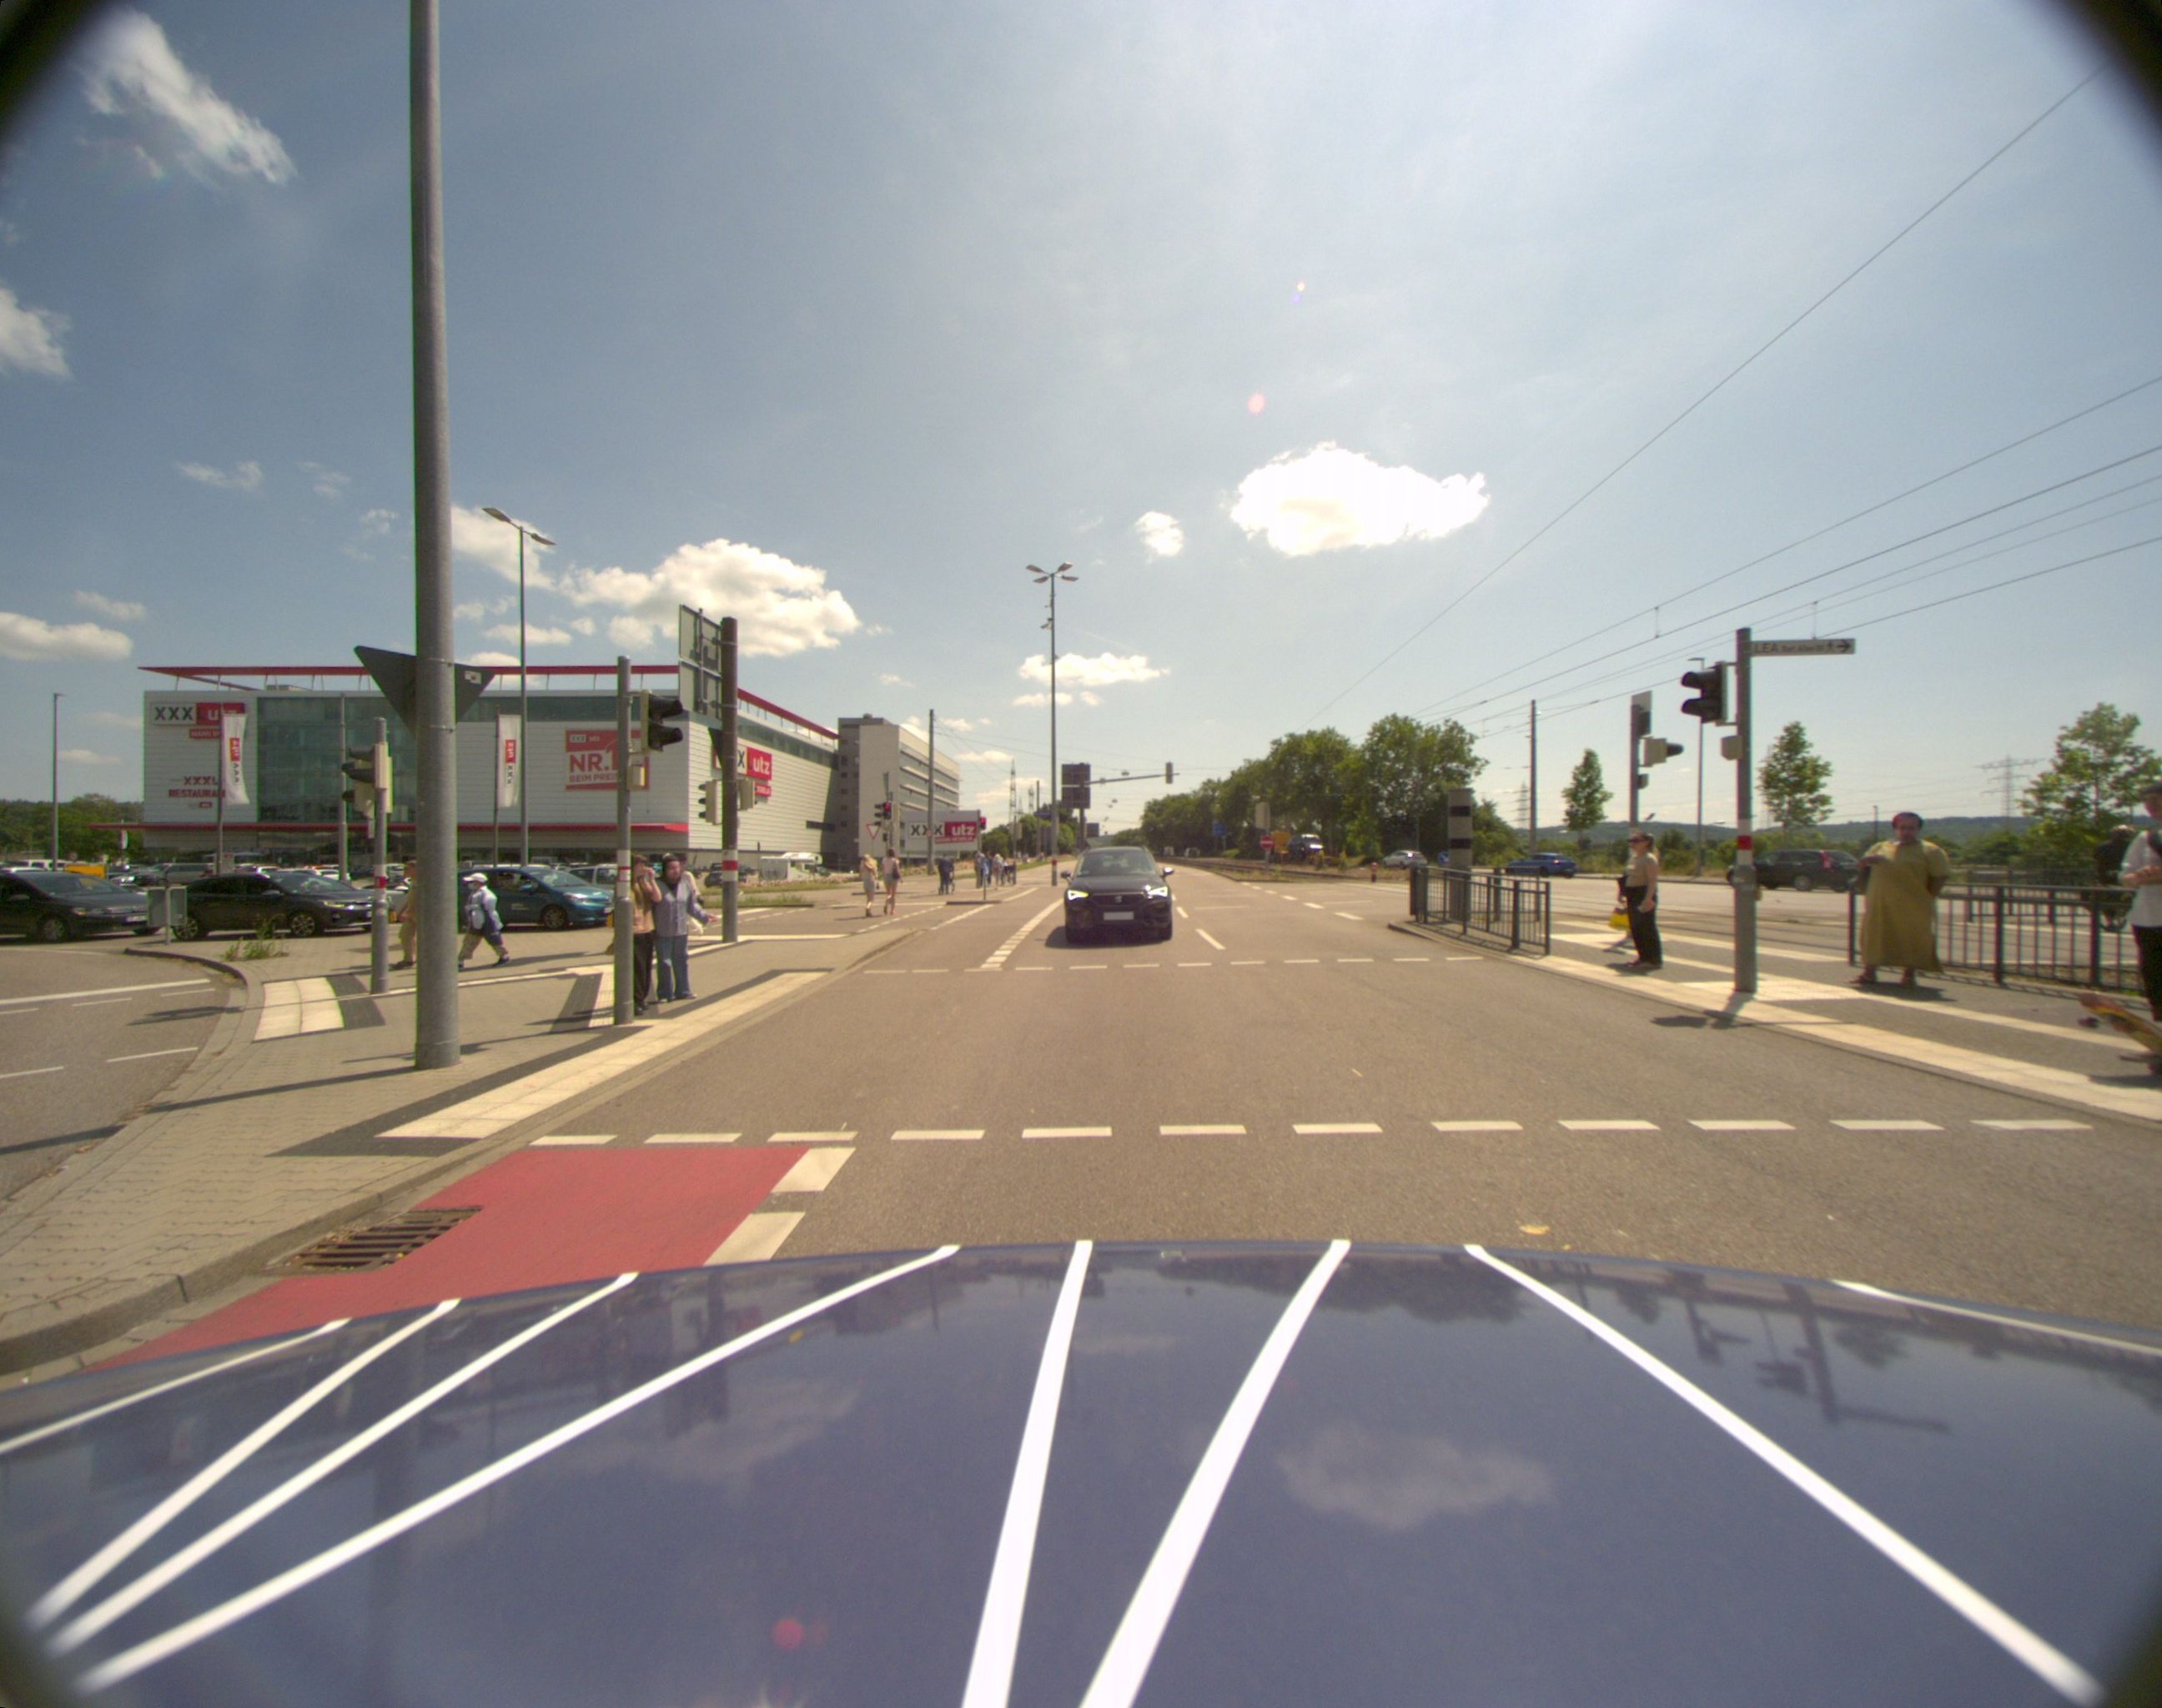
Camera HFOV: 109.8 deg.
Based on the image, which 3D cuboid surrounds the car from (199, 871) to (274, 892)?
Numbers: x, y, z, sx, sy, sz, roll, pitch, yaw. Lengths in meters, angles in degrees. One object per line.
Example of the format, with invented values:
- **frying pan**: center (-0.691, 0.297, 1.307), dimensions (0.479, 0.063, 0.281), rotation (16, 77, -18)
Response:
- **car**: center (-75.407, 2.433, 67.914), dimensions (1.852, 1.692, 4.172), rotation (-1, 0, 4)

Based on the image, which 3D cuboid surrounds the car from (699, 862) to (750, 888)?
- **car**: center (-30.818, 1.785, 65.775), dimensions (1.998, 2.002, 4.454), rotation (-1, 0, 4)

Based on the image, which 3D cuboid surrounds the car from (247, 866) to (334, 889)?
- **car**: center (-65.715, 1.932, 63.294), dimensions (1.852, 1.692, 4.871), rotation (-1, 1, 5)

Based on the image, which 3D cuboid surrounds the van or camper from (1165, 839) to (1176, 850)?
- **van or camper**: center (22.914, -2.418, 194.062), dimensions (1.999, 2.571, 5.843), rotation (1, 1, -1)

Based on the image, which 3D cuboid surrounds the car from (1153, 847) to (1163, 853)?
- **car**: center (19.936, -1.065, 196.492), dimensions (1.999, 1.627, 4.263), rotation (2, 0, -4)

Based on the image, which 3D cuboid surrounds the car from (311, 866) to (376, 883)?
- **car**: center (-67.806, 1.850, 69.901), dimensions (1.852, 1.430, 4.001), rotation (-1, 1, 5)

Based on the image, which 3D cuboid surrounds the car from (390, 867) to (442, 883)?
- **car**: center (-67.637, 2.123, 77.335), dimensions (1.693, 1.518, 4.000), rotation (-2, 1, 2)

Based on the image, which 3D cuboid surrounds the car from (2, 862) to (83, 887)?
- **car**: center (-92.165, 1.804, 67.525), dimensions (1.544, 2.002, 4.000), rotation (-1, 1, 3)

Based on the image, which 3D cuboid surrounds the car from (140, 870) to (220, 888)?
- **car**: center (-80.179, 2.214, 67.724), dimensions (1.858, 1.404, 4.257), rotation (-1, 1, 5)

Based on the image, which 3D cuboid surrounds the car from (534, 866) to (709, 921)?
- **car**: center (-12.812, 1.073, 21.340), dimensions (3.832, 1.389, 1.804), rotation (-1, 0, 3)

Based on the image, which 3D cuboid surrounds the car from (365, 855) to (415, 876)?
- **car**: center (-70.204, 1.169, 77.248), dimensions (1.723, 2.002, 3.604), rotation (-1, 1, 3)

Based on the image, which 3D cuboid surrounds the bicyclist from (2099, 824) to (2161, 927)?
- **bicyclist**: center (17.090, 0.322, 12.176), dimensions (0.666, 1.606, 0.732), rotation (-2, 1, -15)

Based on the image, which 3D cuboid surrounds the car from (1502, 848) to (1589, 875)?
- **car**: center (26.779, 0.426, 44.007), dimensions (2.000, 1.436, 4.346), rotation (-1, 0, -7)

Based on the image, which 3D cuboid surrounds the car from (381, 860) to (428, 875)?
- **car**: center (-74.295, 1.508, 83.518), dimensions (1.693, 1.592, 3.731), rotation (0, -1, 2)

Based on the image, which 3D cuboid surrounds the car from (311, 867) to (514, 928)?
- **car**: center (-18.518, 1.180, 21.151), dimensions (4.227, 1.390, 1.804), rotation (-2, 3, 7)

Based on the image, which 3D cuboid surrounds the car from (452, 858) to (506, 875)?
- **car**: center (-64.806, 1.303, 81.939), dimensions (1.998, 1.724, 4.520), rotation (-2, 1, 3)

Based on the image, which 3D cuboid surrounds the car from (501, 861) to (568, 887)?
- **car**: center (-48.053, 1.722, 66.976), dimensions (1.998, 2.002, 4.965), rotation (-2, 1, 3)

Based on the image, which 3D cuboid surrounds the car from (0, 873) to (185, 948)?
- **car**: center (-24.432, 1.321, 17.950), dimensions (4.410, 1.575, 1.863), rotation (-1, 1, 3)

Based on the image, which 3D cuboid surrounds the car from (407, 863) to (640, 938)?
- **car**: center (-13.042, 1.062, 17.967), dimensions (3.996, 1.546, 2.000), rotation (-1, 1, 1)

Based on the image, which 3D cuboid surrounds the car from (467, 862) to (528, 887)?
- **car**: center (-50.825, 1.751, 66.298), dimensions (1.998, 2.002, 4.000), rotation (-2, 1, 3)

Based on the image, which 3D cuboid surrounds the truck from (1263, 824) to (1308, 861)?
- **truck**: center (23.784, -1.317, 88.746), dimensions (3.134, 4.015, 7.474), rotation (-1, 0, 0)

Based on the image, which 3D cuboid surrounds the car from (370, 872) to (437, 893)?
- **car**: center (-54.809, 2.285, 61.554), dimensions (1.853, 1.537, 3.998), rotation (-2, 1, -3)

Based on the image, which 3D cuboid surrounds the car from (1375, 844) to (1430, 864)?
- **car**: center (25.074, -0.034, 59.375), dimensions (2.000, 1.455, 4.275), rotation (-1, 0, -8)

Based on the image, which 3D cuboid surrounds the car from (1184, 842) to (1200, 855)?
- **car**: center (19.326, -0.894, 132.573), dimensions (1.998, 1.826, 4.437), rotation (3, -5, 0)

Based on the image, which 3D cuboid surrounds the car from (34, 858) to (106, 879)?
- **car**: center (-104.472, 1.476, 78.610), dimensions (1.999, 2.002, 3.999), rotation (-2, 1, 0)

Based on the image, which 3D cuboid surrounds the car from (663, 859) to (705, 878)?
- **car**: center (-42.837, 1.500, 82.088), dimensions (1.998, 1.884, 4.520), rotation (-2, 1, 3)

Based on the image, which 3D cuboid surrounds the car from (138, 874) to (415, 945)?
- **car**: center (-18.600, 1.248, 17.728), dimensions (4.411, 1.435, 1.853), rotation (-1, 1, 0)

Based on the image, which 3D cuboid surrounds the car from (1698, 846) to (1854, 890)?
- **car**: center (27.778, 0.507, 30.582), dimensions (2.000, 1.620, 4.305), rotation (-1, 0, -10)

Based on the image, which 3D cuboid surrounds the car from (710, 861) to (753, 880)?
- **car**: center (-35.365, 1.610, 76.979), dimensions (1.998, 1.707, 4.503), rotation (-2, 1, 3)

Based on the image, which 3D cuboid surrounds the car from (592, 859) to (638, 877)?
- **car**: center (-50.367, 1.497, 82.212), dimensions (1.998, 1.724, 4.520), rotation (-2, 1, 3)

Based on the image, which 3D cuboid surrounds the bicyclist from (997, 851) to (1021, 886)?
- **bicyclist**: center (-3.565, 0.707, 37.639), dimensions (0.797, 1.690, 0.818), rotation (0, 0, 40)

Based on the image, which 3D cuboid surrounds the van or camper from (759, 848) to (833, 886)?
- **van or camper**: center (-23.946, 1.016, 64.244), dimensions (2.714, 2.929, 7.615), rotation (-2, 1, 5)
